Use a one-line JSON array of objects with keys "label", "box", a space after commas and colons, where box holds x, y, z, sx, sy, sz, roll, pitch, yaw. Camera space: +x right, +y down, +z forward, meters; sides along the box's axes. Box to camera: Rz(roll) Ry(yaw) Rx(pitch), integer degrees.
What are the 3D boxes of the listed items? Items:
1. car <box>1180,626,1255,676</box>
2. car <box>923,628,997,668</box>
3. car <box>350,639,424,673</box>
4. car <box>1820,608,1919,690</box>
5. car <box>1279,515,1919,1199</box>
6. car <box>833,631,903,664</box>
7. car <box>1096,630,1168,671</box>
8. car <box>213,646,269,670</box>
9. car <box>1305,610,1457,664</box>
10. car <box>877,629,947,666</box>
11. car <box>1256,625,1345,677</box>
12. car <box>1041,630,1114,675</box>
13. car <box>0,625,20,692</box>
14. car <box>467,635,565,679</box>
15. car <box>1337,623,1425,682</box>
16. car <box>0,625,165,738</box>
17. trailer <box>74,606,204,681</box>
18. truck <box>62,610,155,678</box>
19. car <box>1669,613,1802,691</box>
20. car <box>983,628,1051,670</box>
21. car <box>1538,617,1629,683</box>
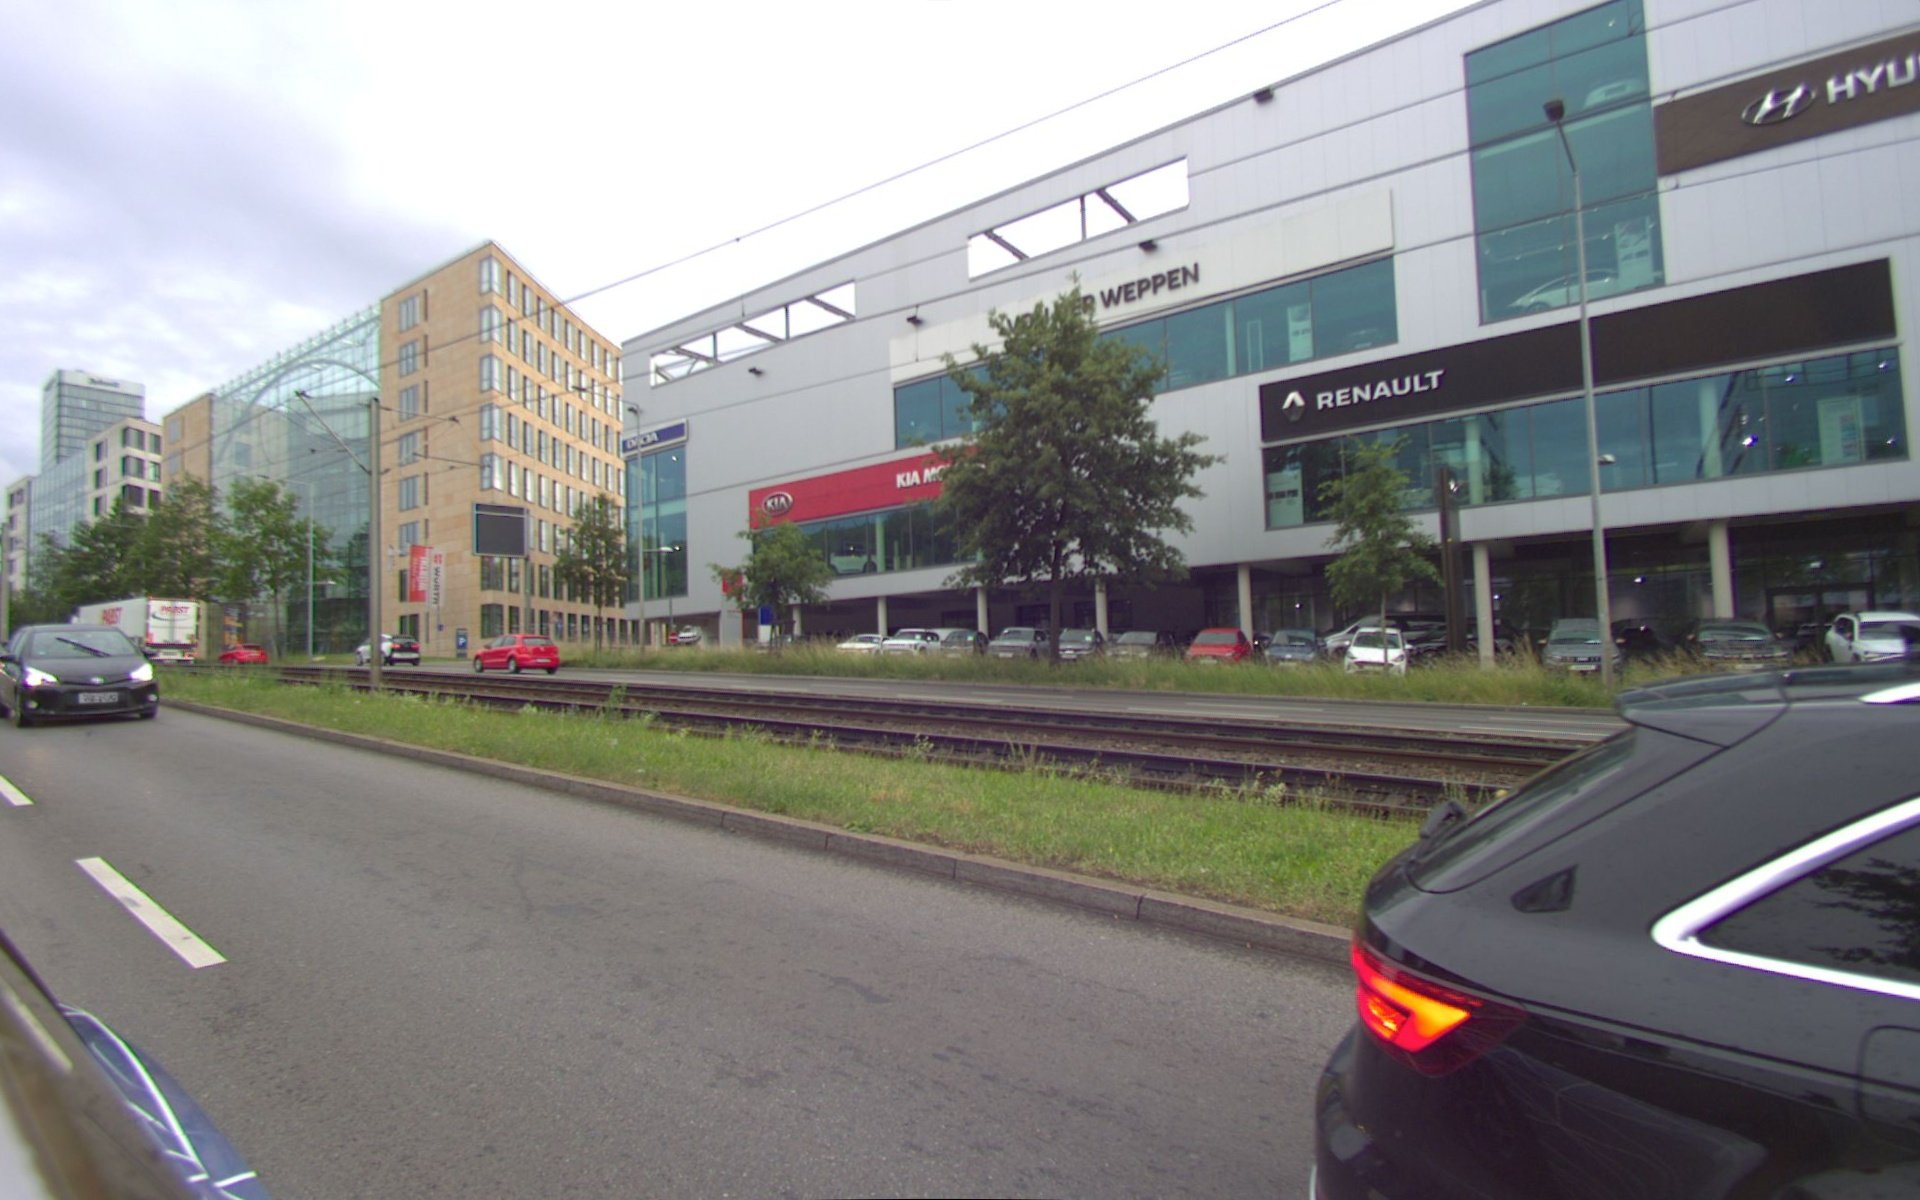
[{"label": "car", "box": [8.622, 1.660, 33.734, 1.789, 1.362, 3.903, -2, 1, 24]}, {"label": "car", "box": [0.053, 1.887, 40.304, 1.688, 1.362, 3.499, -2, 1, 23]}, {"label": "car", "box": [-28.692, 2.780, 50.632, 4.091, 1.593, 1.669, -2, -2, 36]}, {"label": "car", "box": [21.436, 1.046, 23.085, 1.992, 1.562, 4.331, -2, 1, 30]}, {"label": "car", "box": [2.773, 0.614, 0.744, 4.511, 1.478, 1.762, -2, -2, 41]}, {"label": "car", "box": [-3.944, 2.029, 43.911, 1.685, 1.196, 3.643, -2, 1, 18]}, {"label": "car", "box": [6.087, 1.738, 35.597, 1.688, 1.190, 3.498, -2, 1, 24]}, {"label": "car", "box": [-44.414, 3.559, 62.499, 4.017, 1.380, 1.668, -2, -2, 37]}, {"label": "car", "box": [14.797, 1.291, 35.773, 4.488, 1.796, 1.997, -1, -2, 5]}, {"label": "car", "box": [-1.954, 1.951, 42.235, 1.685, 1.304, 3.643, -2, 1, 18]}, {"label": "car", "box": [10.917, 1.577, 32.316, 1.914, 1.362, 4.005, -2, 1, 30]}, {"label": "car", "box": [4.339, 1.897, 37.057, 1.688, 1.362, 3.498, -2, 1, 24]}, {"label": "car", "box": [-25.556, 1.497, 25.797, 4.313, 1.619, 1.764, -2, -1, 39]}, {"label": "car", "box": [-16.321, 2.072, 37.146, 4.098, 1.524, 1.568, -2, -4, 40]}, {"label": "car", "box": [12.791, 1.545, 30.620, 1.914, 1.470, 4.005, -2, 1, 30]}, {"label": "car", "box": [-13.949, 1.180, 15.878, 3.825, 1.544, 1.682, -2, -2, 42]}, {"label": "trailer", "box": [-52.117, 2.788, 64.044, 13.258, 4.363, 3.105, -2, -5, 37]}, {"label": "truck", "box": [-56.933, 2.977, 67.619, 7.017, 4.276, 3.106, -2, -5, 37]}, {"label": "car", "box": [18.897, 1.201, 24.861, 1.992, 1.562, 4.331, -2, 1, 30]}, {"label": "car", "box": [2.255, 1.860, 38.972, 1.686, 1.362, 3.503, -2, 1, 20]}, {"label": "car", "box": [16.698, 1.287, 27.246, 1.925, 1.470, 3.981, -2, 1, 30]}]
